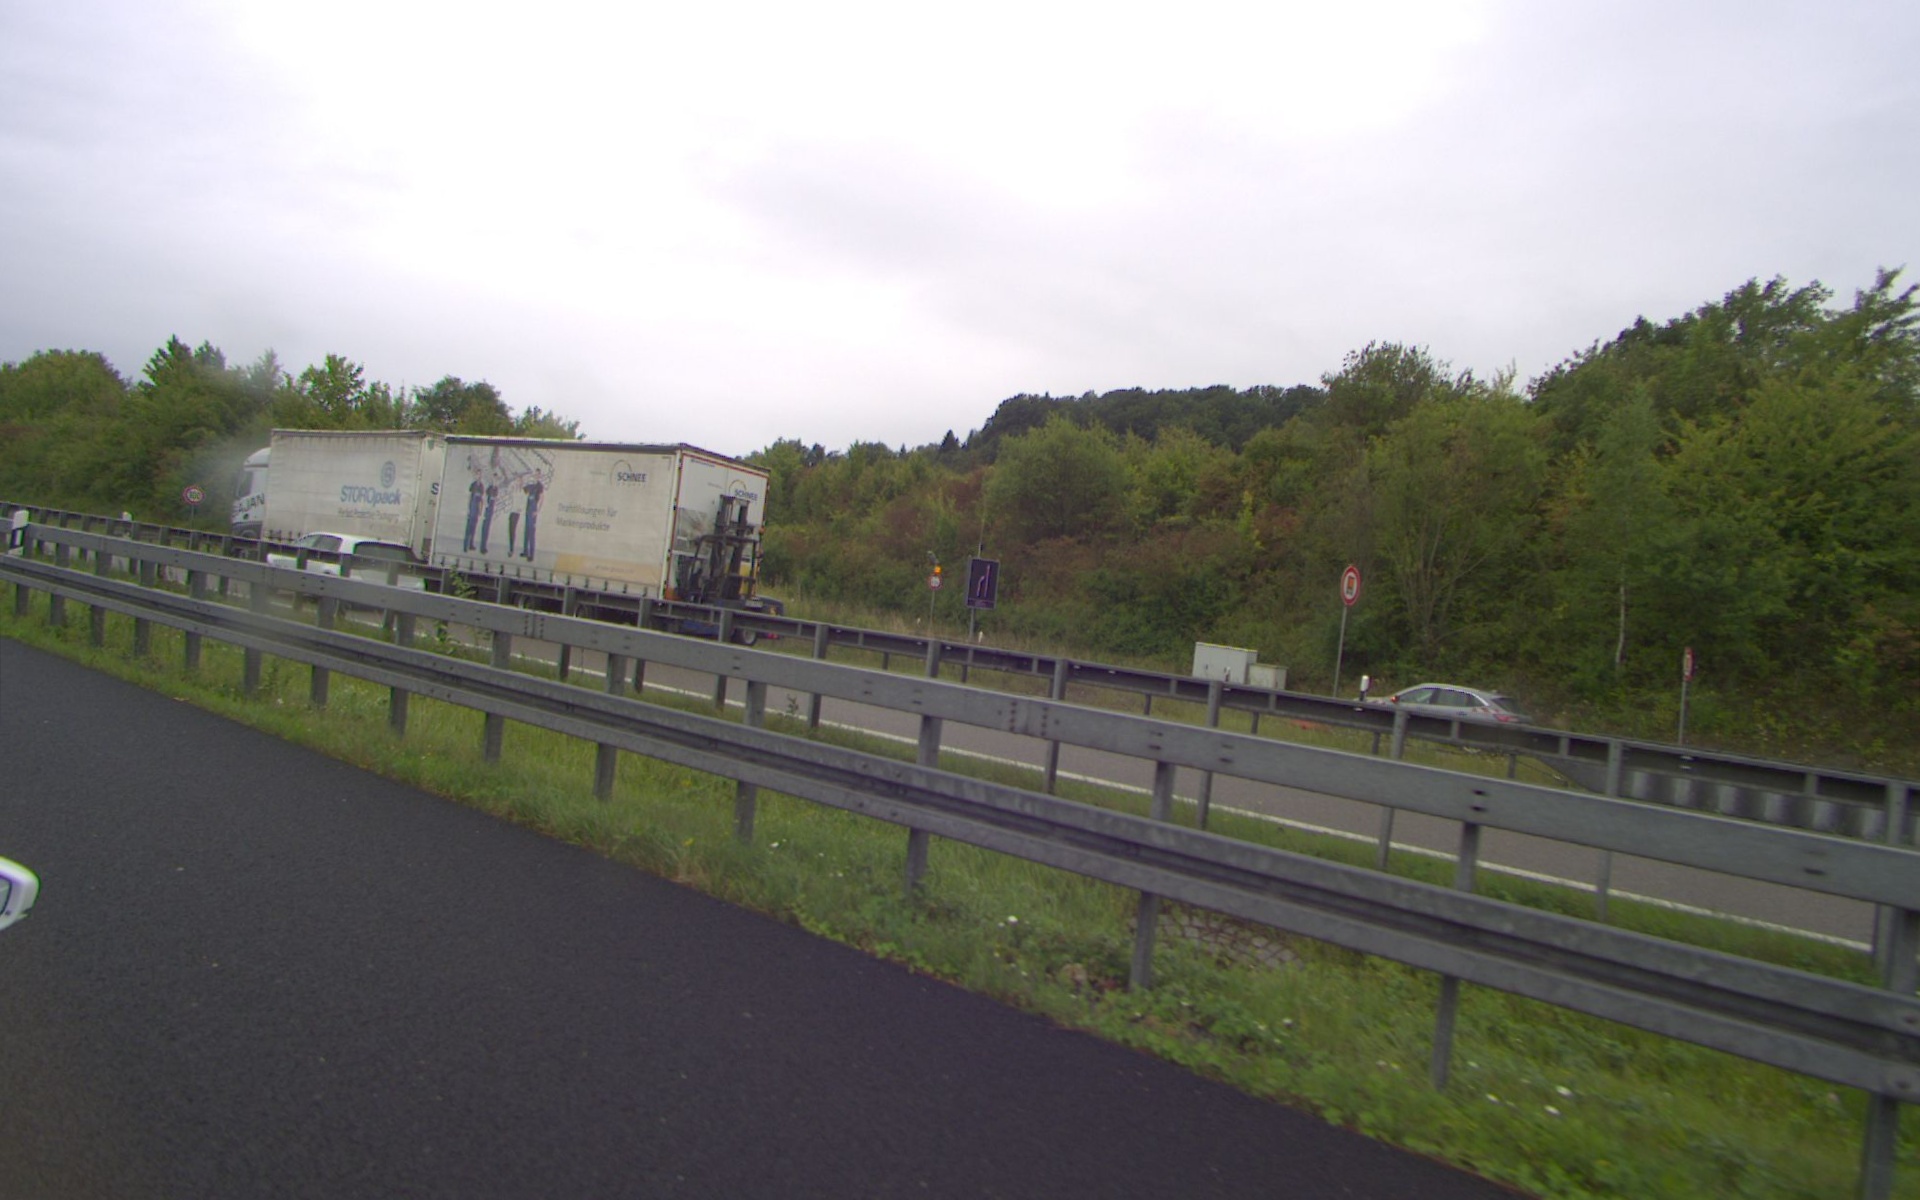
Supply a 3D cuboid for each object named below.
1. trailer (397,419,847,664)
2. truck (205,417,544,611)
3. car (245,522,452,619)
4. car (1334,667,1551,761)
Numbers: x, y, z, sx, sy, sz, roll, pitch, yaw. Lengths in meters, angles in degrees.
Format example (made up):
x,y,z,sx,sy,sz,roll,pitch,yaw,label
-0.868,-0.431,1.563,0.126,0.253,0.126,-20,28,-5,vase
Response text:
x,y,z,sx,sy,sz,roll,pitch,yaw,label
-7.869,-1.465,22.572,10.281,4.341,3.442,7,0,32,trailer
-16.535,-2.515,28.048,10.245,4.341,3.442,7,0,32,truck
-12.625,-0.617,20.721,4.088,1.465,1.863,7,-1,31,car
12.056,2.828,25.361,1.854,1.633,4.445,8,-1,-43,car
